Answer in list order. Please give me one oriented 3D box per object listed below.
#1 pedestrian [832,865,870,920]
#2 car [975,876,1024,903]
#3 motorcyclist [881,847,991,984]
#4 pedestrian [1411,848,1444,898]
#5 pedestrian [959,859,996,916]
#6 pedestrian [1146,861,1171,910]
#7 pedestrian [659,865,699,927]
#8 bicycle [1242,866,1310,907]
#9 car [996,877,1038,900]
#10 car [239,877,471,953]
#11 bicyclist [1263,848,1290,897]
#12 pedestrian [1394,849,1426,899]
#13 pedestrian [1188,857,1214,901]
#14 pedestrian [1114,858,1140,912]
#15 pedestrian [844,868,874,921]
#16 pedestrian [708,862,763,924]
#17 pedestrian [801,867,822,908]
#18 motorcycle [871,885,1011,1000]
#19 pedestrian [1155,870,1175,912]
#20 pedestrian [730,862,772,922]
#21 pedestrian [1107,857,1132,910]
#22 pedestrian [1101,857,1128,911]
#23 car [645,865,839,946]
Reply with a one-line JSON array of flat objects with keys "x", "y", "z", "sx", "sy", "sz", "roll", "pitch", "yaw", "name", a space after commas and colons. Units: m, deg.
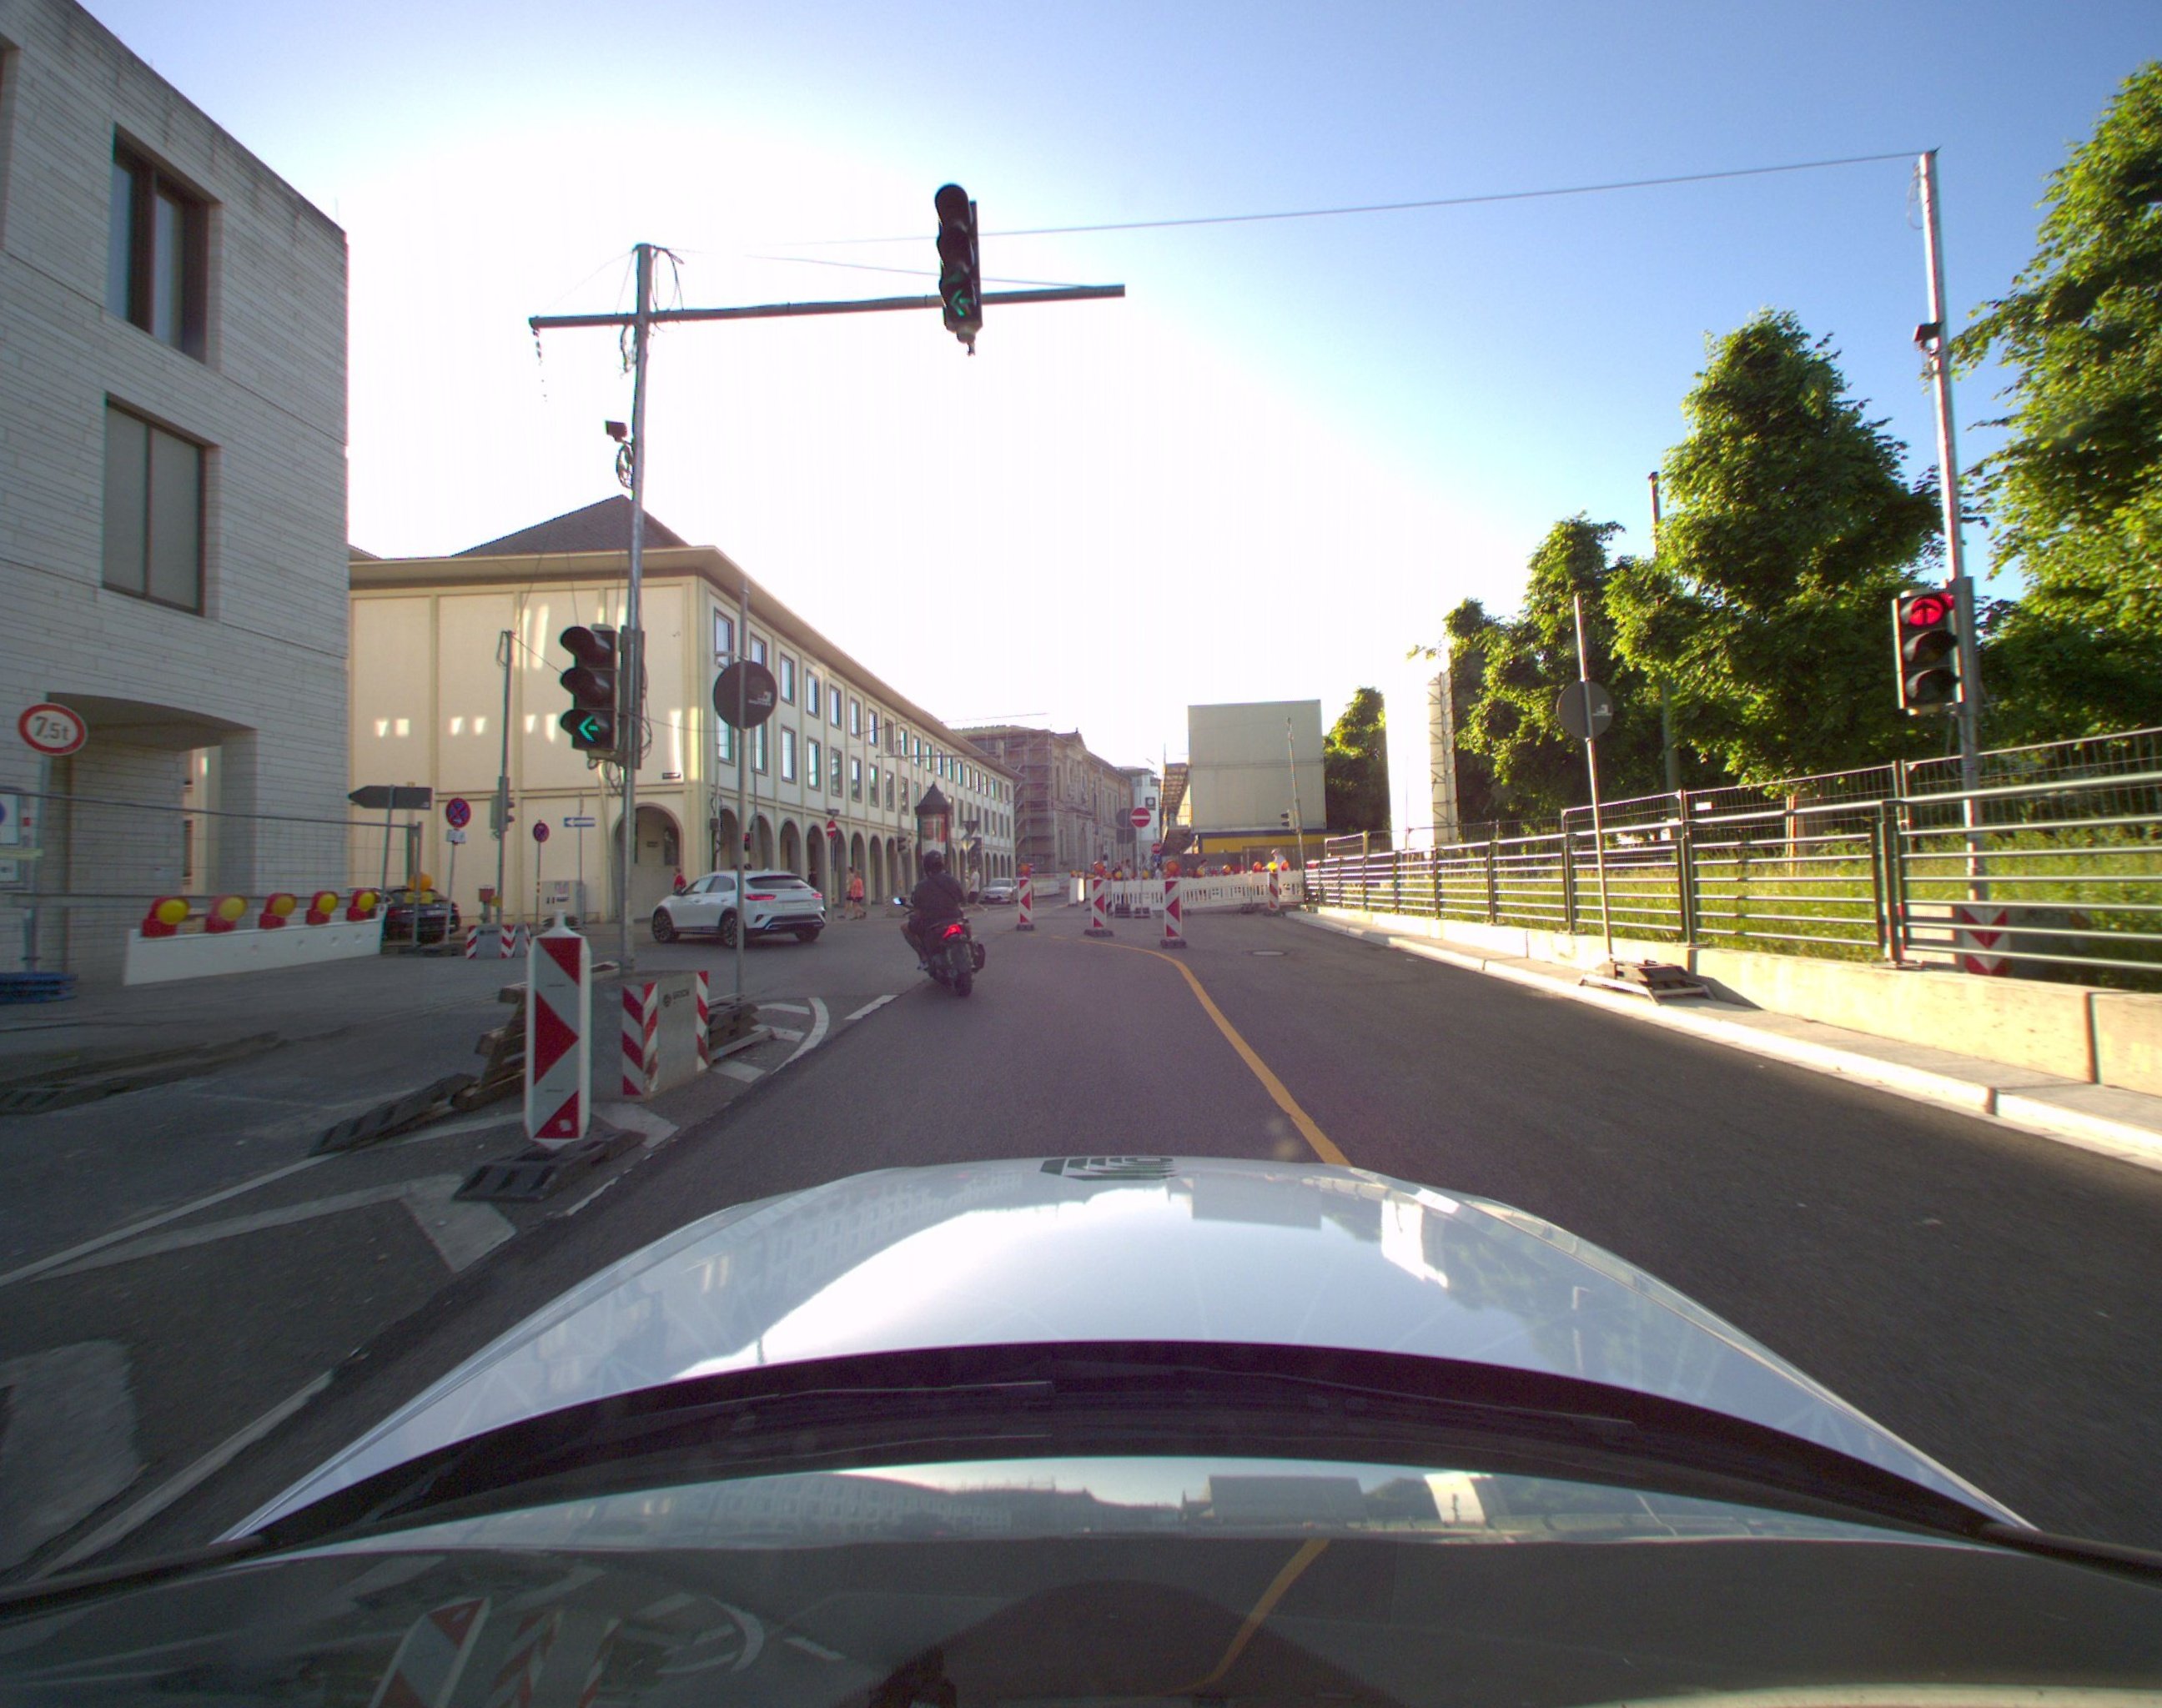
[{"x": -7.458, "y": 1.236, "z": 26.463, "sx": 0.961, "sy": 1.709, "sz": 0.676, "roll": -1, "pitch": 1, "yaw": 2, "name": "pedestrian"}, {"x": -4.564, "y": 2.033, "z": 46.324, "sx": 1.914, "sy": 1.467, "sz": 4.006, "roll": -1, "pitch": -3, "yaw": 7, "name": "car"}, {"x": -1.837, "y": 0.722, "z": 10.199, "sx": 0.960, "sy": 1.559, "sz": 1.227, "roll": -2, "pitch": -1, "yaw": -29, "name": "motorcyclist"}, {"x": 11.217, "y": 0.609, "z": 26.334, "sx": 0.749, "sy": 1.566, "sz": 0.657, "roll": -2, "pitch": -2, "yaw": -44, "name": "pedestrian"}, {"x": -3.265, "y": 1.047, "z": 25.725, "sx": 0.970, "sy": 1.729, "sz": 0.799, "roll": -3, "pitch": -2, "yaw": 2, "name": "pedestrian"}, {"x": 2.666, "y": 1.079, "z": 28.031, "sx": 0.764, "sy": 1.619, "sz": 0.667, "roll": -3, "pitch": -1, "yaw": 6, "name": "pedestrian"}, {"x": -12.083, "y": 1.244, "z": 24.498, "sx": 0.770, "sy": 1.801, "sz": 0.712, "roll": -2, "pitch": 1, "yaw": 2, "name": "pedestrian"}, {"x": 6.072, "y": 1.019, "z": 25.411, "sx": 1.983, "sy": 1.201, "sz": 0.477, "roll": -2, "pitch": -2, "yaw": 5, "name": "bicycle"}, {"x": -4.100, "y": 2.250, "z": 52.793, "sx": 1.914, "sy": 1.467, "sz": 4.006, "roll": -1, "pitch": -3, "yaw": 7, "name": "car"}, {"x": -17.073, "y": 1.411, "z": 19.246, "sx": 4.072, "sy": 1.550, "sz": 1.783, "roll": -2, "pitch": -1, "yaw": 6, "name": "car"}, {"x": 6.086, "y": 0.577, "z": 25.384, "sx": 0.698, "sy": 1.516, "sz": 0.687, "roll": -2, "pitch": -2, "yaw": 7, "name": "bicyclist"}, {"x": 10.836, "y": 0.664, "z": 26.853, "sx": 0.733, "sy": 1.604, "sz": 0.644, "roll": -3, "pitch": -1, "yaw": 6, "name": "pedestrian"}, {"x": 4.127, "y": 0.857, "z": 28.051, "sx": 0.764, "sy": 1.462, "sz": 0.667, "roll": -3, "pitch": -1, "yaw": 6, "name": "pedestrian"}, {"x": 1.542, "y": 1.032, "z": 27.411, "sx": 0.733, "sy": 1.771, "sz": 0.623, "roll": -3, "pitch": -1, "yaw": 6, "name": "pedestrian"}, {"x": -7.039, "y": 1.287, "z": 25.813, "sx": 0.722, "sy": 1.624, "sz": 0.620, "roll": -1, "pitch": 1, "yaw": 2, "name": "pedestrian"}, {"x": -10.392, "y": 1.161, "z": 24.519, "sx": 1.238, "sy": 1.801, "sz": 0.717, "roll": -2, "pitch": 1, "yaw": 2, "name": "pedestrian"}, {"x": -12.665, "y": 1.567, "z": 38.345, "sx": 0.637, "sy": 1.840, "sz": 0.728, "roll": -1, "pitch": 1, "yaw": 6, "name": "pedestrian"}, {"x": -1.833, "y": 1.014, "z": 10.224, "sx": 0.911, "sy": 1.183, "sz": 2.554, "roll": -2, "pitch": -1, "yaw": -29, "name": "motorcycle"}, {"x": 2.633, "y": 1.152, "z": 25.588, "sx": 0.615, "sy": 1.300, "sz": 0.494, "roll": 0, "pitch": -1, "yaw": 5, "name": "pedestrian"}, {"x": -10.185, "y": 1.148, "z": 25.146, "sx": 0.934, "sy": 1.777, "sz": 0.712, "roll": -2, "pitch": 1, "yaw": 2, "name": "pedestrian"}, {"x": 1.338, "y": 1.029, "z": 28.365, "sx": 0.733, "sy": 1.771, "sz": 0.724, "roll": -3, "pitch": -1, "yaw": 6, "name": "pedestrian"}, {"x": 1.106, "y": 0.993, "z": 26.790, "sx": 0.733, "sy": 1.716, "sz": 0.623, "roll": -3, "pitch": -1, "yaw": 6, "name": "pedestrian"}, {"x": -7.032, "y": 1.024, "z": 16.766, "sx": 3.948, "sy": 1.472, "sz": 1.877, "roll": -3, "pitch": -2, "yaw": 36, "name": "car"}]
